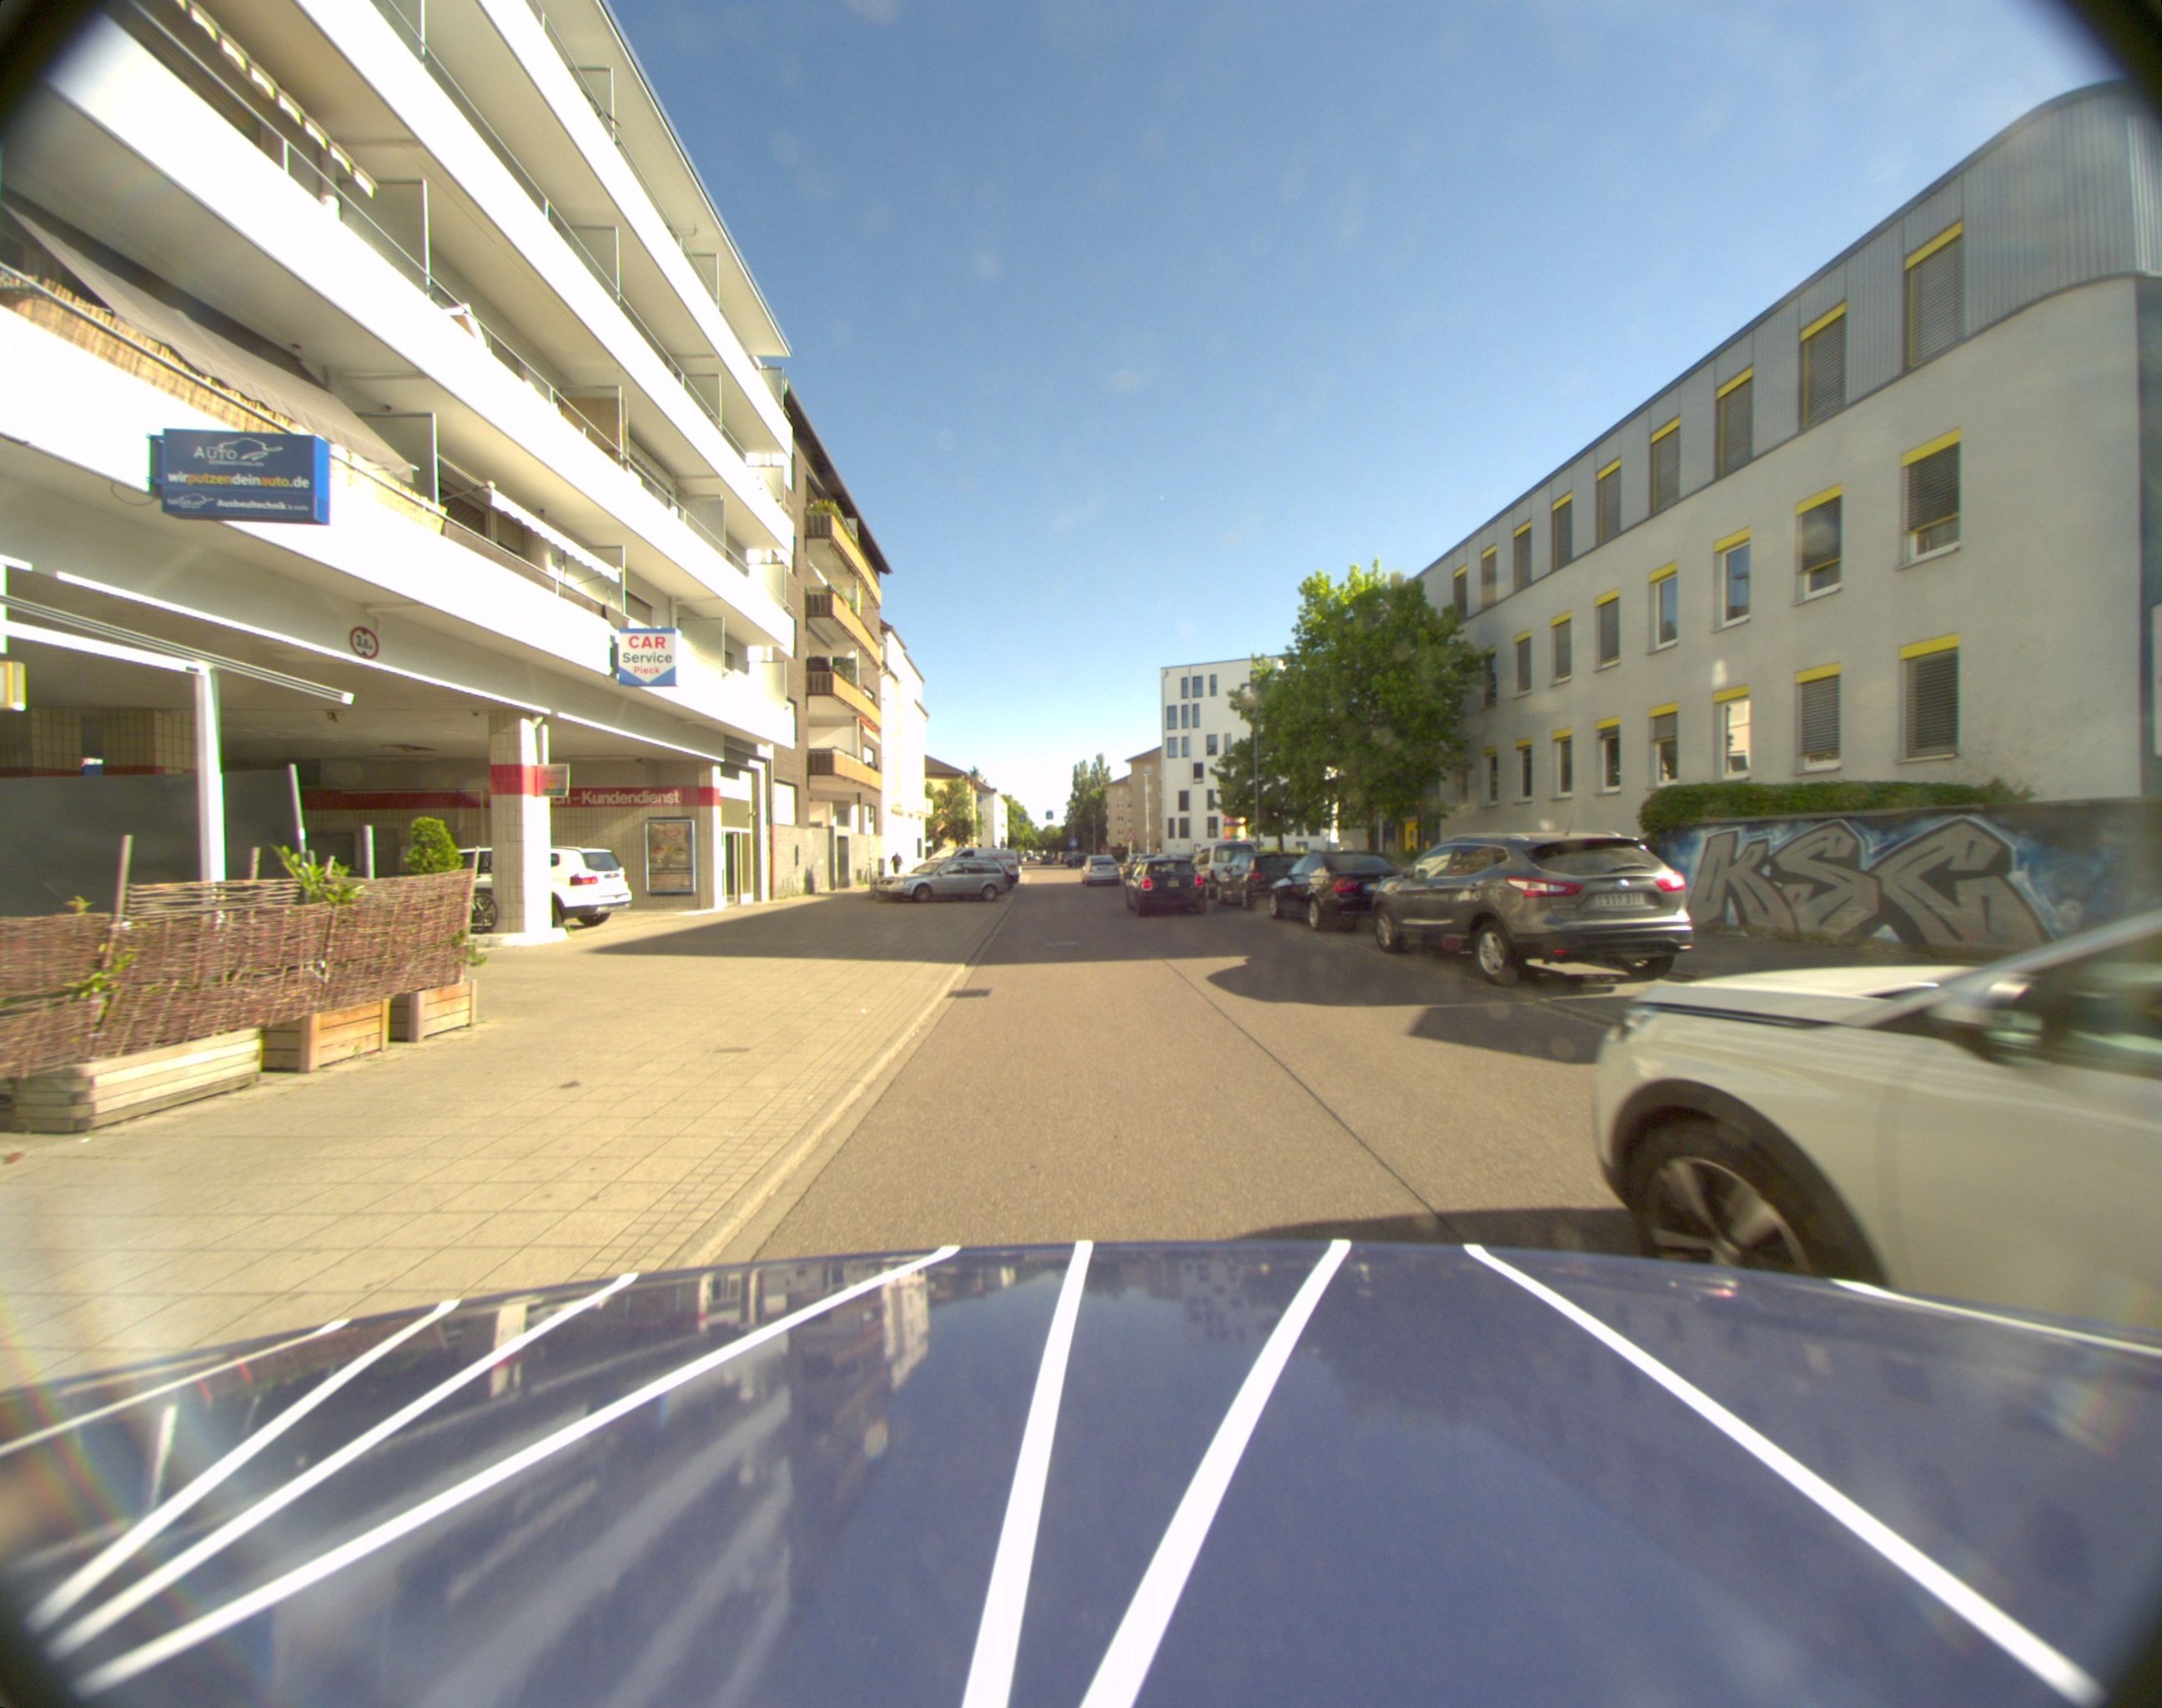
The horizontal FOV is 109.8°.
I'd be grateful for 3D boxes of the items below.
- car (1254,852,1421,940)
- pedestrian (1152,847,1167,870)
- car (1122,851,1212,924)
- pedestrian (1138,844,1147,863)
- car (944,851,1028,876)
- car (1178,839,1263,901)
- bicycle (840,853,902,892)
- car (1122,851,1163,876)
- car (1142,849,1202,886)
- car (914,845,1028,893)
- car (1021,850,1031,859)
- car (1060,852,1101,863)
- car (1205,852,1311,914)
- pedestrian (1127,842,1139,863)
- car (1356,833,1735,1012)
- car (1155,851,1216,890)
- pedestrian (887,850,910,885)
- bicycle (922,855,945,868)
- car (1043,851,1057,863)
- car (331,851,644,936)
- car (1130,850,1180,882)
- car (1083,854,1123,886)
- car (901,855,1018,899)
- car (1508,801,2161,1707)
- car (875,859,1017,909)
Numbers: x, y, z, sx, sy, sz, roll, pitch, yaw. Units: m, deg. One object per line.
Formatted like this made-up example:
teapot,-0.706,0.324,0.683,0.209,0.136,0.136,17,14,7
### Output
car,4.857,0.713,15.118,1.730,1.456,4.438,-1,0,-1
pedestrian,5.967,0.341,57.883,0.977,1.704,0.874,0,1,19
car,2.159,0.794,20.030,1.745,1.504,3.727,-2,3,-3
pedestrian,6.069,-0.049,75.075,0.790,1.875,0.847,0,3,13
car,-5.883,0.631,47.412,4.884,1.455,1.968,2,-1,-37
car,4.531,0.484,25.313,1.692,1.828,4.339,-1,0,-5
bicycle,-7.042,0.621,25.584,0.705,1.246,2.266,-1,-1,25
car,3.579,0.524,45.047,1.794,1.402,4.221,-1,1,-4
car,4.153,0.553,35.404,1.914,1.521,4.622,-1,1,-4
car,-4.773,0.620,33.293,4.540,1.887,2.043,1,2,-43
car,-11.983,0.077,165.252,1.999,1.685,3.997,-1,2,-4
car,-0.056,0.437,90.877,4.571,1.160,1.995,-3,1,-31
car,4.654,0.704,20.541,1.603,1.432,3.998,-2,1,-5
pedestrian,5.293,-0.142,77.817,0.776,2.108,0.956,-2,1,-24
car,4.974,0.607,9.030,1.724,1.577,4.420,-1,0,-1
car,4.142,0.604,30.684,1.737,1.431,4.610,-1,1,-1
pedestrian,-8.551,0.621,35.611,0.834,1.584,0.889,0,1,3
bicycle,-13.435,0.688,69.148,2.026,1.187,0.530,0,2,19
car,-4.380,0.379,107.331,1.842,1.496,4.134,-1,3,-2
car,-11.268,0.710,14.721,4.403,1.504,1.978,0,1,-3
car,3.846,0.594,40.296,1.914,1.470,4.378,-1,1,-4
car,1.061,0.768,38.894,1.731,1.477,4.105,-1,0,-2
car,-4.662,0.821,29.650,1.751,1.504,4.336,1,2,43
car,2.630,0.788,0.623,1.924,1.715,4.333,-1,3,-3
car,-4.512,0.950,25.974,4.656,1.458,1.685,-1,2,-45
